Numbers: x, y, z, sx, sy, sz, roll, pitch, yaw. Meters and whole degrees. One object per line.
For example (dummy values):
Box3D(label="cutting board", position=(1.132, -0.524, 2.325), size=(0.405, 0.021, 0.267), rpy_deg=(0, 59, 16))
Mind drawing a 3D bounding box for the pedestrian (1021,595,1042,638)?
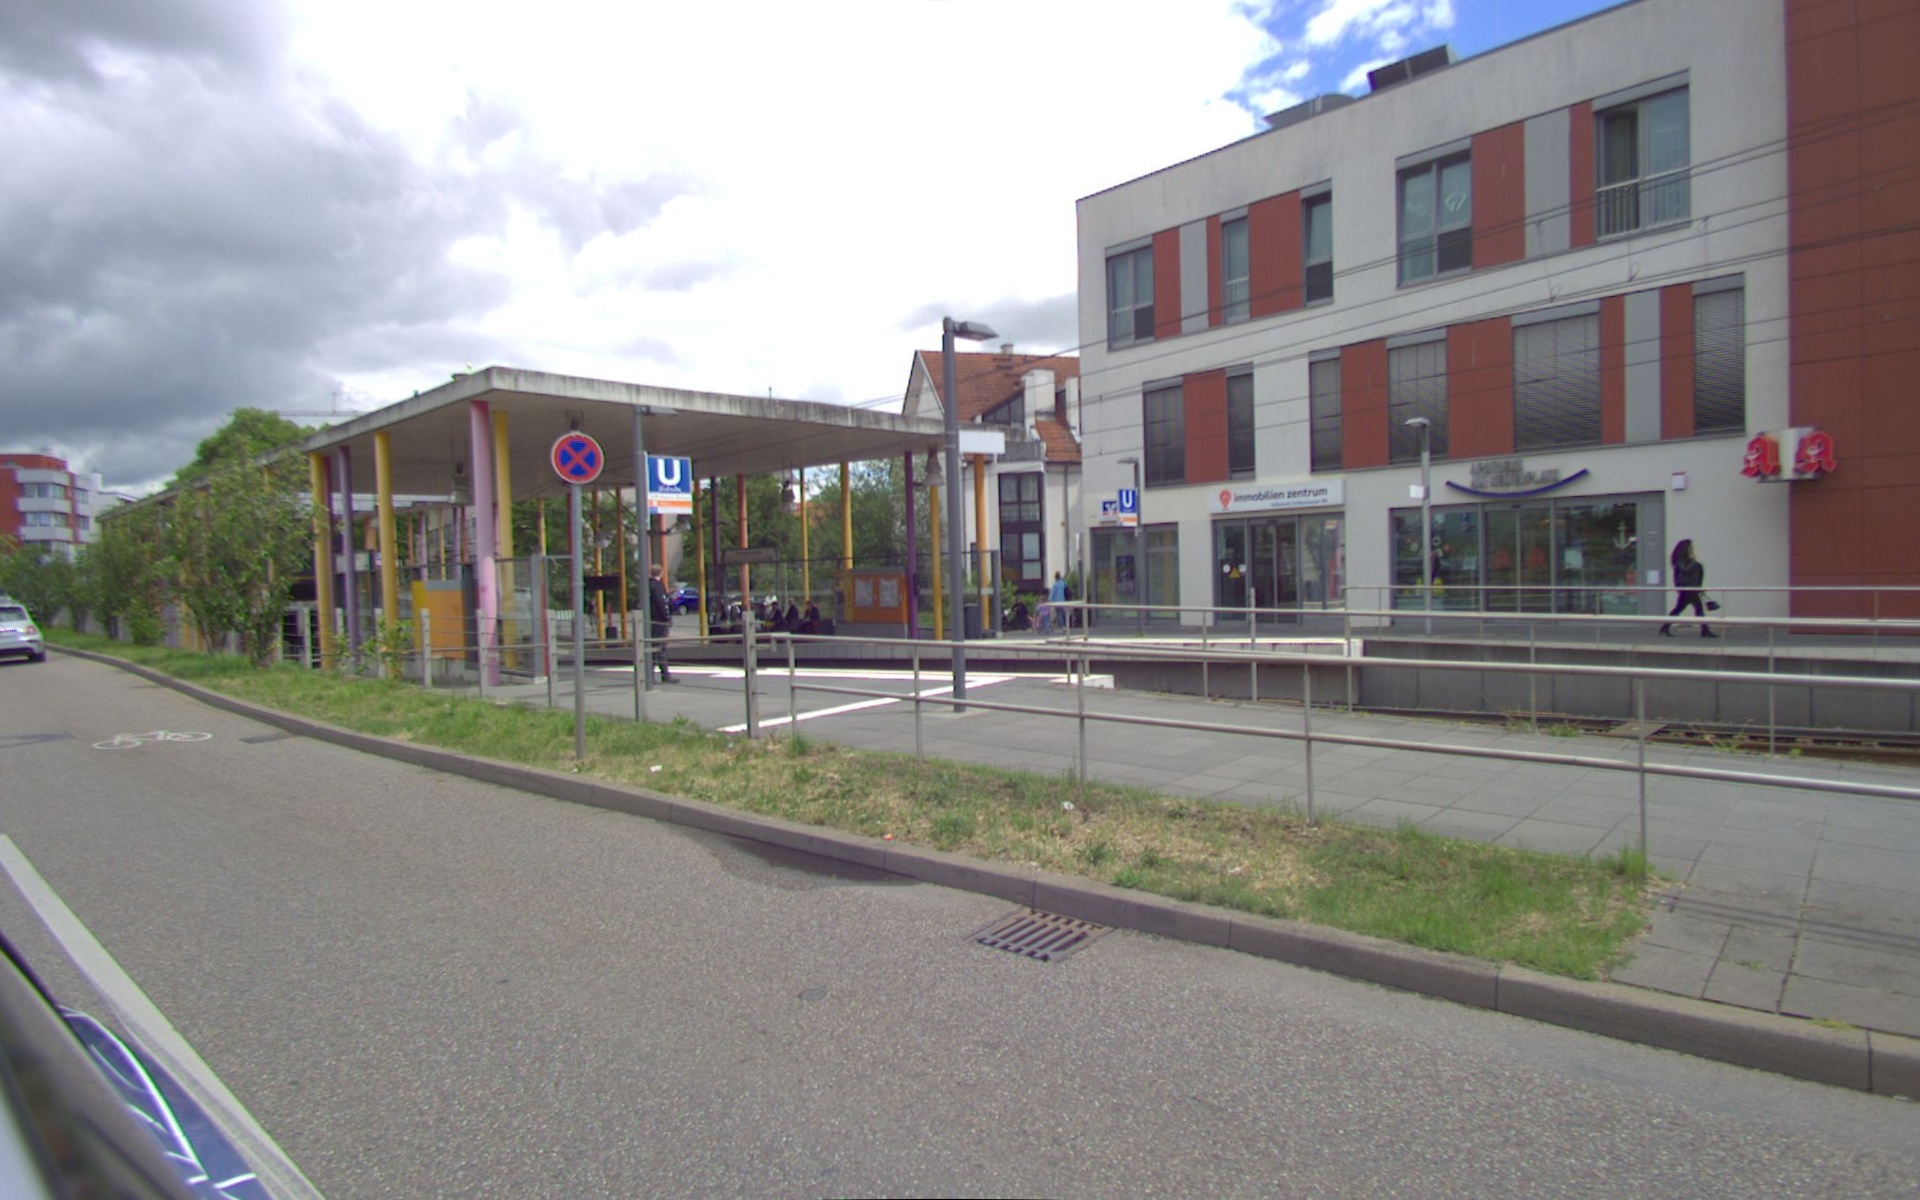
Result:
Box3D(label="pedestrian", position=(2.270, 0.521, 31.972), size=(0.521, 1.314, 0.510), rpy_deg=(-1, 4, 20))

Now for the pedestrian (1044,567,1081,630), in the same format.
Box3D(label="pedestrian", position=(2.849, -0.061, 28.144), size=(0.676, 1.697, 0.724), rpy_deg=(-5, 5, -44))

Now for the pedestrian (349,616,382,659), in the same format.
Box3D(label="pedestrian", position=(-15.679, 0.983, 26.683), size=(0.484, 1.091, 0.559), rpy_deg=(-3, 2, 43))

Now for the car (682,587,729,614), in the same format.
Box3D(label="car", position=(-17.526, -0.017, 69.598), size=(1.883, 1.586, 4.011), rpy_deg=(-4, 4, -33))

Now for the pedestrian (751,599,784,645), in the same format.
Box3D(label="pedestrian", position=(-6.105, 0.697, 32.067), size=(0.702, 1.389, 0.644), rpy_deg=(-2, 2, 45))

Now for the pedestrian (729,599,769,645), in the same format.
Box3D(label="pedestrian", position=(-6.812, 0.702, 32.680), size=(0.702, 1.389, 0.916), rpy_deg=(-2, 2, 44))

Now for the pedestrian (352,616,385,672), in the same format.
Box3D(label="pedestrian", position=(-17.847, 1.327, 30.549), size=(0.636, 1.626, 0.622), rpy_deg=(-2, 2, 45))

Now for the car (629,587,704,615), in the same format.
Box3D(label="car", position=(-17.480, 0.035, 60.359), size=(3.933, 1.347, 1.731), rpy_deg=(-4, 4, -31))

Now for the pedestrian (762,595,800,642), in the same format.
Box3D(label="pedestrian", position=(-5.559, 0.568, 31.439), size=(0.702, 1.389, 0.813), rpy_deg=(-2, 2, 44))

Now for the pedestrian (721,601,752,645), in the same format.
Box3D(label="pedestrian", position=(-7.443, 0.774, 33.694), size=(0.702, 1.389, 0.644), rpy_deg=(-2, 2, 45))

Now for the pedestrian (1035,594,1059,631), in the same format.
Box3D(label="pedestrian", position=(2.545, 0.354, 29.606), size=(0.359, 1.030, 0.562), rpy_deg=(-5, 5, -44))

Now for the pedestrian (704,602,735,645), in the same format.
Box3D(label="pedestrian", position=(-8.187, 0.788, 34.422), size=(0.705, 1.389, 0.678), rpy_deg=(-2, 2, 45))

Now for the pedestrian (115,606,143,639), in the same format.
Box3D(label="pedestrian", position=(-42.871, 1.159, 52.211), size=(0.815, 1.576, 0.917), rpy_deg=(1, 5, 42))

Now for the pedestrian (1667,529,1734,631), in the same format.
Box3D(label="pedestrian", position=(12.548, -0.348, 17.154), size=(0.843, 1.661, 0.649), rpy_deg=(1, 5, 44))

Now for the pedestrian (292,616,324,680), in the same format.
Box3D(label="pedestrian", position=(-19.534, 1.420, 30.326), size=(0.580, 1.843, 0.710), rpy_deg=(-5, 5, -44))

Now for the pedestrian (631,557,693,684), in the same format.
Box3D(label="pedestrian", position=(-4.575, 0.298, 15.568), size=(0.771, 1.858, 0.738), rpy_deg=(-4, 1, -15))

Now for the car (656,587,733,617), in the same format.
Box3D(label="car", position=(-15.309, 0.105, 58.386), size=(3.933, 1.411, 1.575), rpy_deg=(-4, 4, -31))

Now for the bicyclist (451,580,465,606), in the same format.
Box3D(label="bicyclist", position=(-31.478, -0.436, 63.452), size=(0.478, 1.604, 0.682), rpy_deg=(-5, 5, -44))

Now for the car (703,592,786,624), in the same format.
Box3D(label="car", position=(-11.355, 0.400, 53.334), size=(3.933, 1.347, 1.575), rpy_deg=(-4, 4, -31))

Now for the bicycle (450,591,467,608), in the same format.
Box3D(label="bicycle", position=(-31.484, -0.047, 63.493), size=(0.478, 0.970, 1.614), rpy_deg=(-5, 5, -43))

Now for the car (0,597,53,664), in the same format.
Box3D(label="car", position=(-24.079, 0.789, 25.220), size=(4.000, 1.519, 1.752), rpy_deg=(-2, 4, 43))

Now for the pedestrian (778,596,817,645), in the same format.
Box3D(label="pedestrian", position=(-4.923, 0.619, 30.700), size=(0.702, 1.389, 0.813), rpy_deg=(-2, 2, 44))

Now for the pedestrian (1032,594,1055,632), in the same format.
Box3D(label="pedestrian", position=(2.276, 0.352, 27.657), size=(0.359, 0.997, 0.492), rpy_deg=(-5, 5, -44))
